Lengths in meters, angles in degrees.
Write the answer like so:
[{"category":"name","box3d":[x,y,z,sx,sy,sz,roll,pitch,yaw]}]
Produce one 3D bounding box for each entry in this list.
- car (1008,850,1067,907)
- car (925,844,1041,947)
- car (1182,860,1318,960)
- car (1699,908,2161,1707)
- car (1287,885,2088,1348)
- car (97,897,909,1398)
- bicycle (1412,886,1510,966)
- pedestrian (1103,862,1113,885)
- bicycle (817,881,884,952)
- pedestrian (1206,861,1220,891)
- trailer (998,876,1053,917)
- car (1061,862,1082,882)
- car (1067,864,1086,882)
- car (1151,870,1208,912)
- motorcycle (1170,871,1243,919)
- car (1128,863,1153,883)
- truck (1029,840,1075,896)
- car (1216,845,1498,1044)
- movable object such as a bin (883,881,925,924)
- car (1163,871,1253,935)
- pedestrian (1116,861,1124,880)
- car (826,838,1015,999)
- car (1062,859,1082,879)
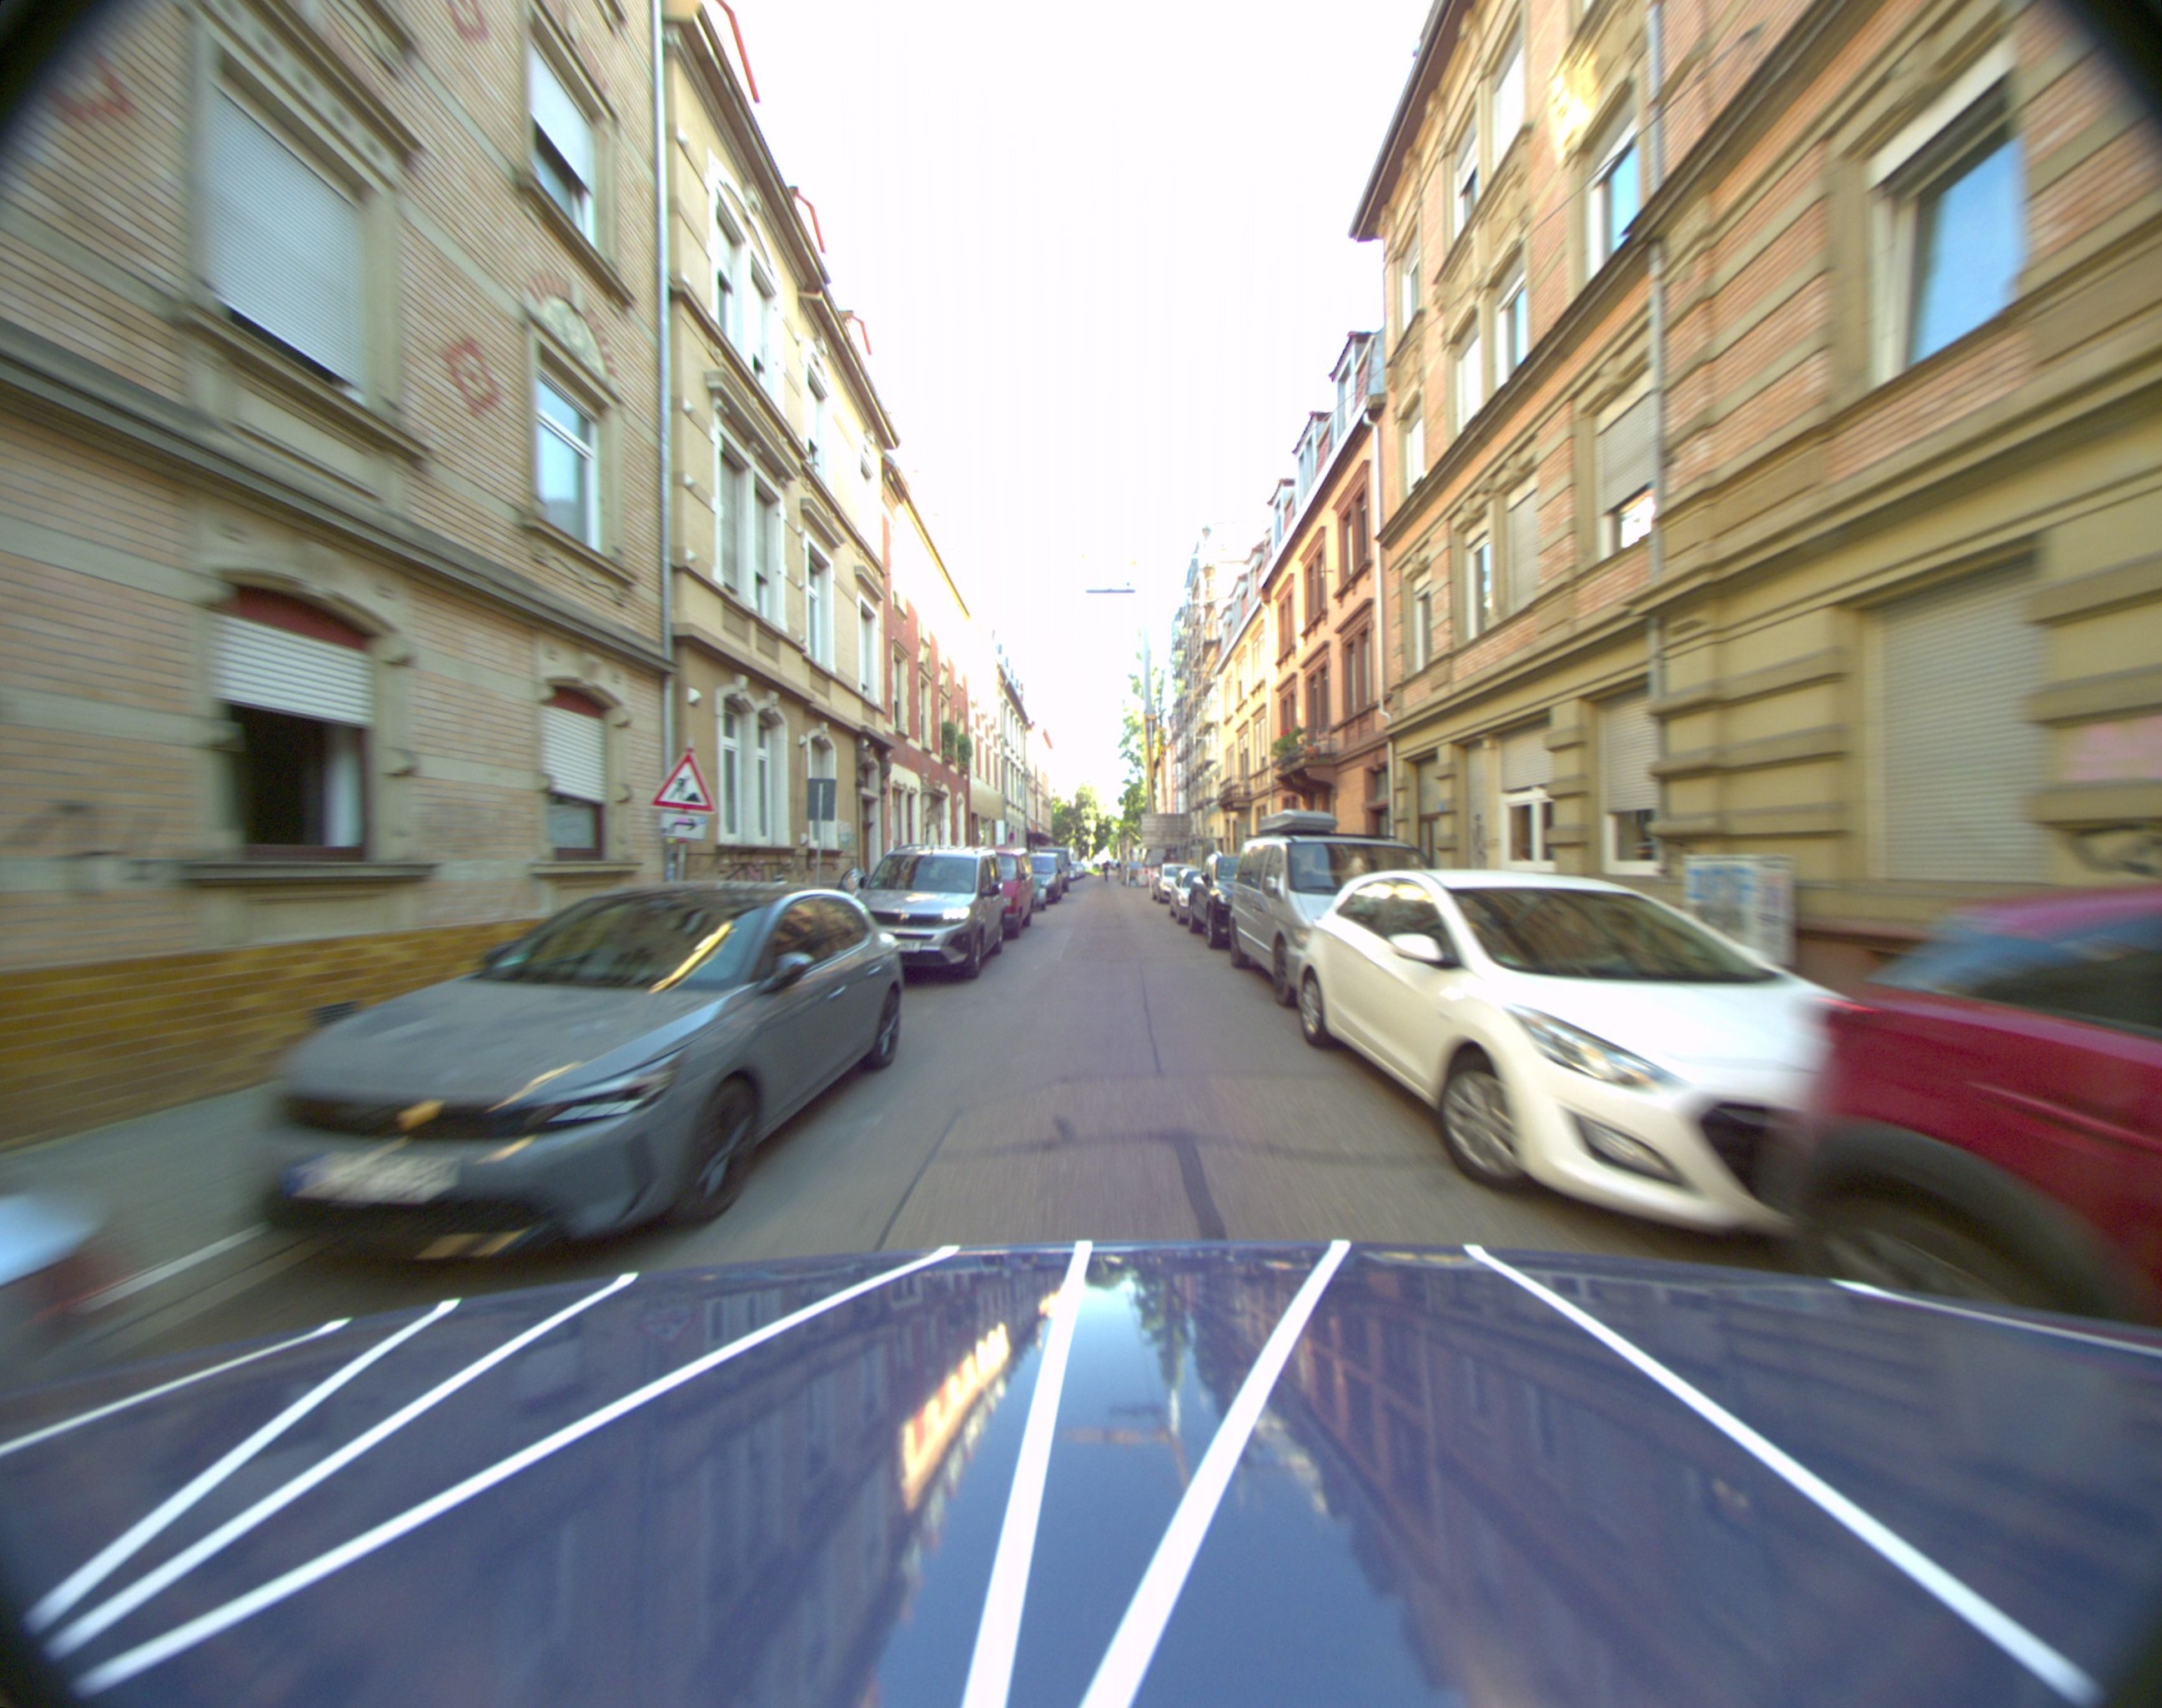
[{"category":"car","box3d":[-1.634,0.920,29.964,1.849,1.972,4.577,-3,-1,1]},{"category":"car","box3d":[-2.084,0.854,17.571,1.836,2.001,4.743,-2,-1,2]},{"category":"car","box3d":[3.116,0.951,14.914,1.792,1.614,4.609,-2,0,3]},{"category":"car","box3d":[2.639,0.891,0.175,1.726,1.472,4.090,-2,0,2]},{"category":"car","box3d":[2.602,0.979,4.541,1.678,1.412,3.875,-2,0,0]},{"category":"car","box3d":[-2.349,1.070,4.433,1.670,1.470,3.889,-1,-1,2]},{"category":"bicycle","box3d":[6.009,1.102,12.138,0.668,1.118,1.785,-3,-1,2]},{"category":"pedestrian","box3d":[2.047,1.482,57.741,0.740,1.743,0.998,-1,0,3]},{"category":"bicycle","box3d":[-4.655,1.236,15.467,0.728,1.296,1.692,3,0,2]},{"category":"pedestrian","box3d":[5.754,0.937,33.100,0.451,1.276,0.647,-2,0,2]},{"category":"trailer","box3d":[-1.753,1.350,24.847,1.508,1.106,3.039,-4,-1,0]},{"category":"car","box3d":[-0.781,1.502,63.749,1.525,1.525,3.464,5,0,2]},{"category":"car","box3d":[-0.396,1.787,74.056,1.603,1.626,3.775,-3,-1,2]},{"category":"car","box3d":[3.634,1.327,28.601,1.678,1.410,4.000,1,0,1]},{"category":"motorcycle","box3d":[3.883,1.264,23.673,0.846,1.352,2.190,2,0,-41]},{"category":"car","box3d":[4.642,1.440,59.678,1.771,1.500,4.697,0,-1,2]},{"category":"truck","box3d":[-1.468,0.721,40.754,2.154,2.641,6.253,4,-1,-1]},{"category":"car","box3d":[2.946,0.859,9.305,1.897,1.774,4.609,-2,0,2]},{"category":"movable object such as a bin","box3d":[-4.619,1.260,19.867,0.898,1.055,0.722,2,0,-1]},{"category":"car","box3d":[3.165,1.197,19.680,1.702,1.306,4.001,-4,0,2]},{"category":"pedestrian","box3d":[3.486,1.444,67.828,0.594,1.634,0.813,1,0,2]},{"category":"car","box3d":[-2.189,0.831,11.606,1.774,1.949,4.265,-2,-1,2]},{"category":"car","box3d":[-0.774,1.359,68.146,1.603,1.652,4.061,-3,-1,2]}]
